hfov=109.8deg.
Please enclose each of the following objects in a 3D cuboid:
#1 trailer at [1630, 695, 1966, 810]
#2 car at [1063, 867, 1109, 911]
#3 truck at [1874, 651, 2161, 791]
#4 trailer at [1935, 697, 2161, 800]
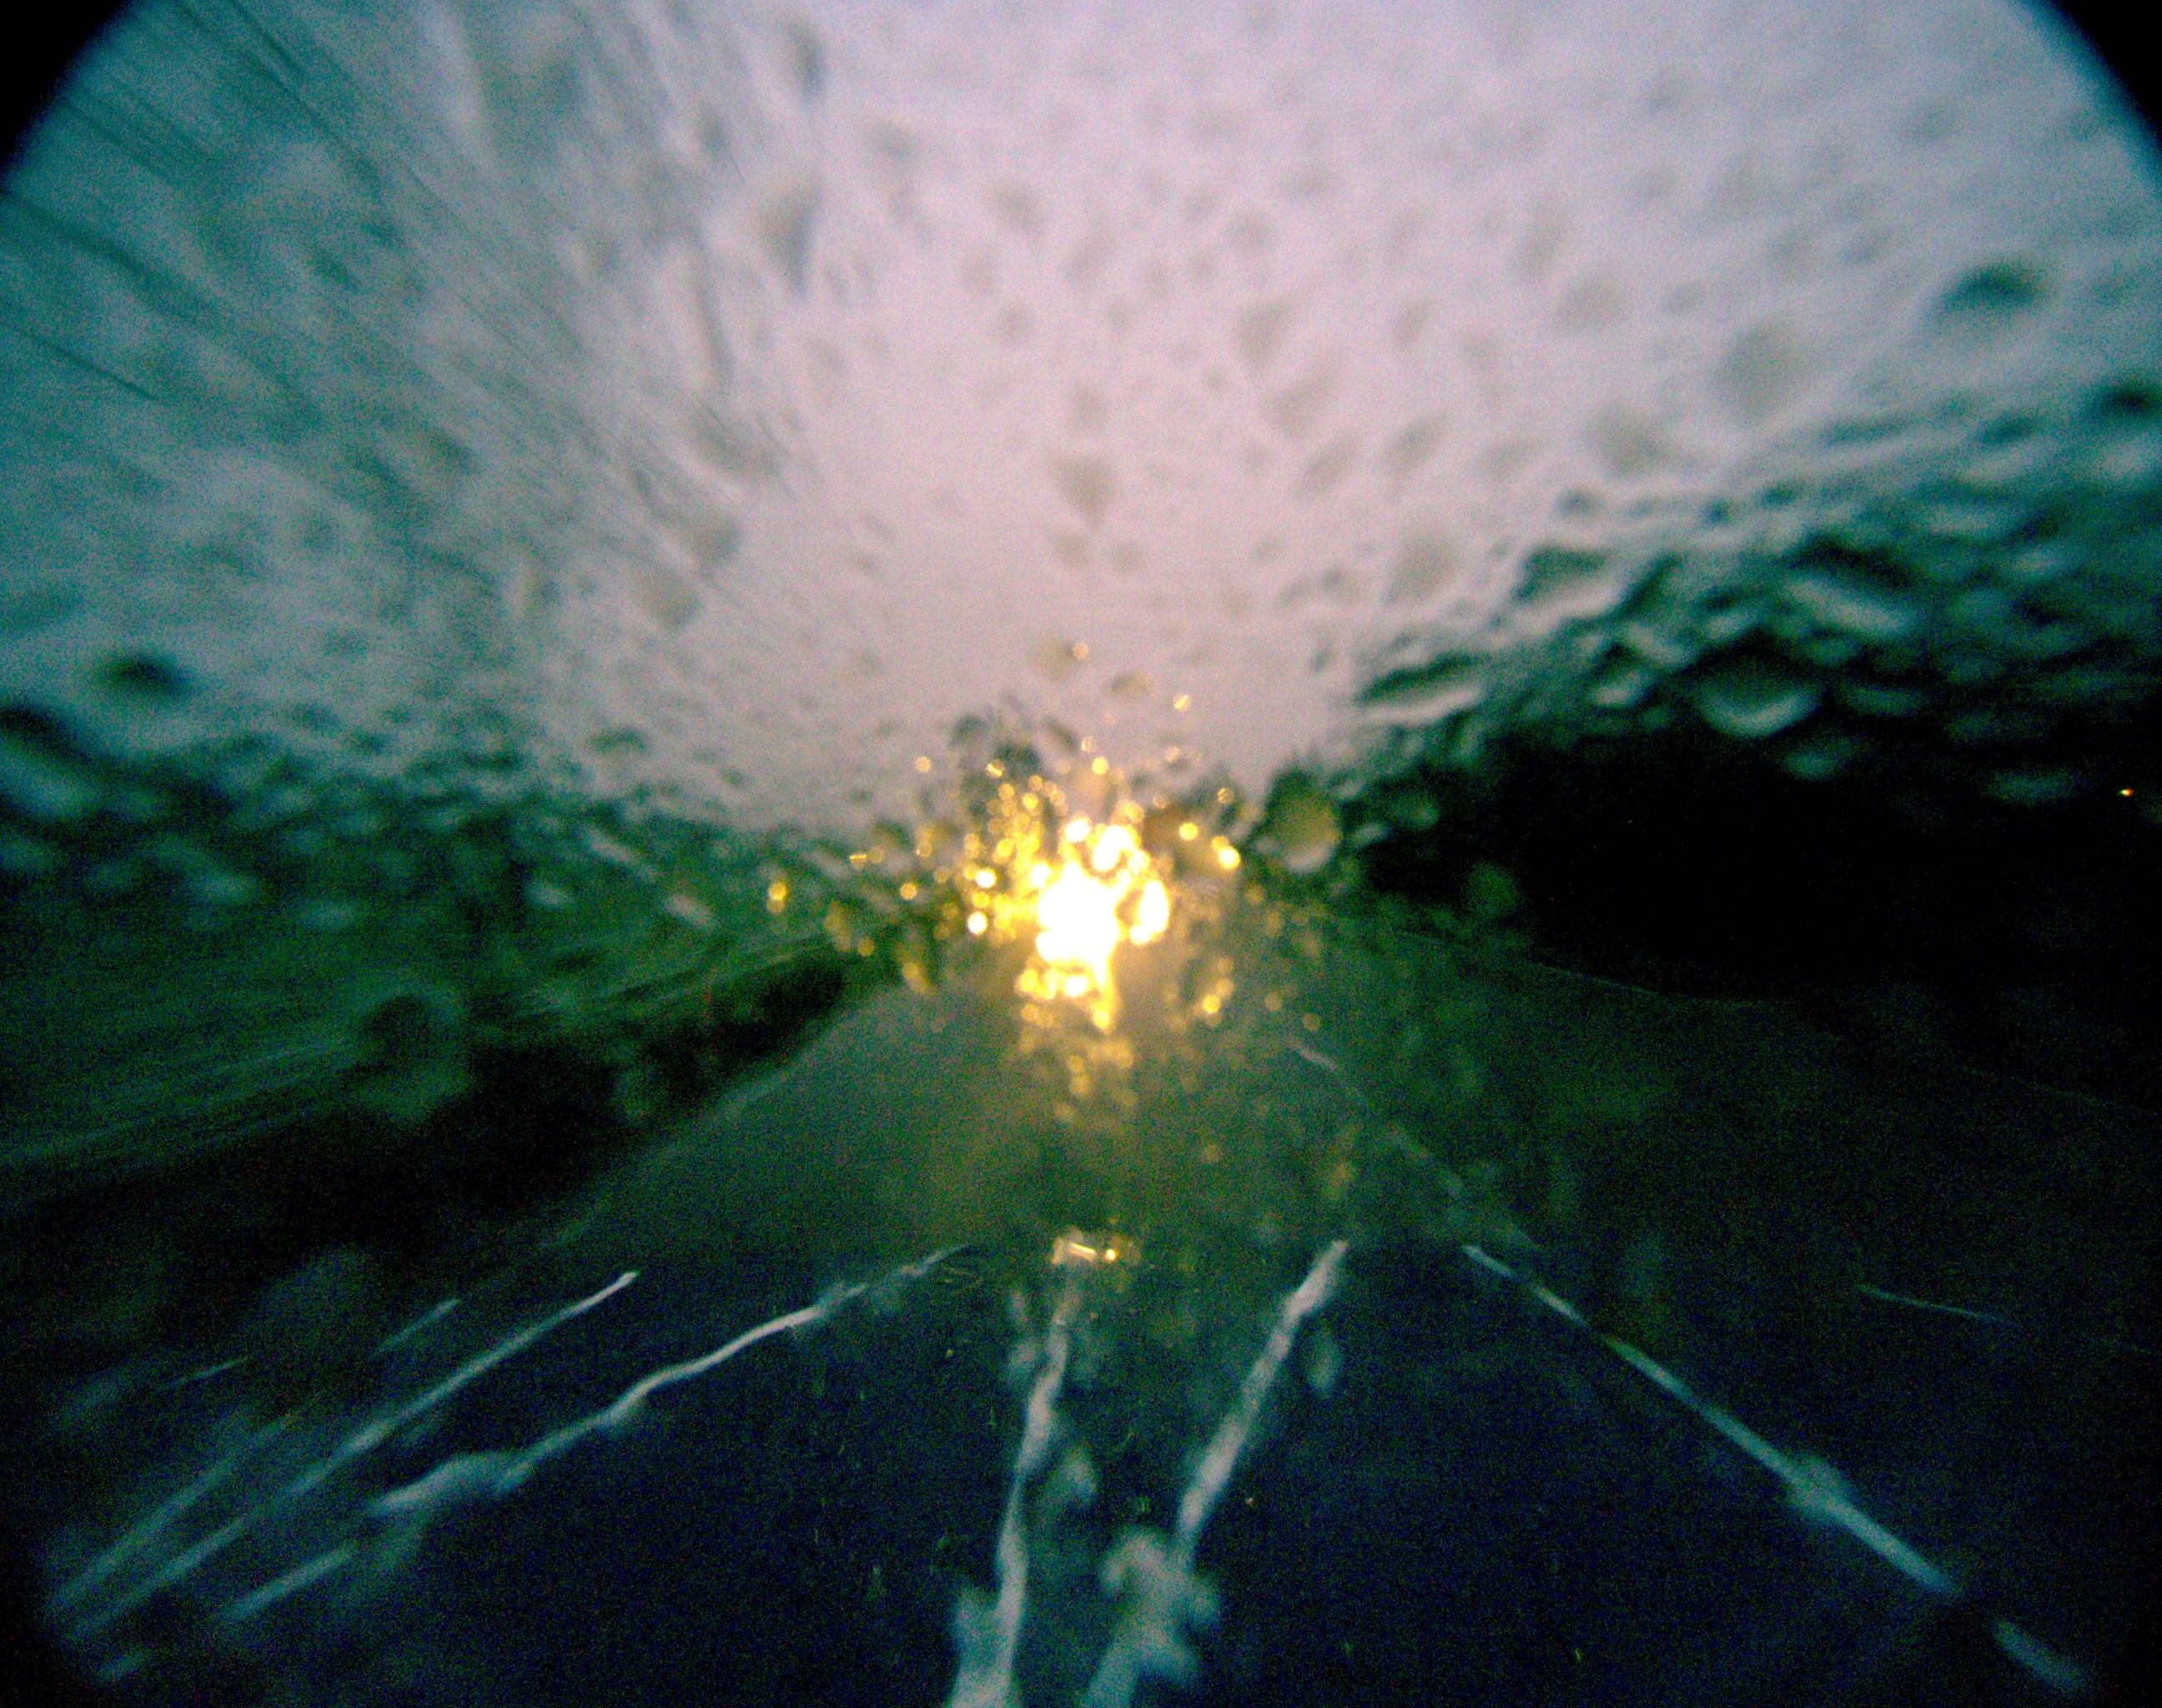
[{"bbox_3d":[26.215,-3.465,29.069,2.442,2.874,11.085,-1,0,0],"label":"trailer"},{"bbox_3d":[0.277,1.521,34.299,1.910,1.653,4.000,-3,1,2],"label":"car"},{"bbox_3d":[26.153,-3.449,21.091,2.456,2.870,5.583,-1,0,0],"label":"truck"},{"bbox_3d":[30.652,-3.071,20.479,2.515,2.410,11.502,-1,0,1],"label":"trailer"}]
